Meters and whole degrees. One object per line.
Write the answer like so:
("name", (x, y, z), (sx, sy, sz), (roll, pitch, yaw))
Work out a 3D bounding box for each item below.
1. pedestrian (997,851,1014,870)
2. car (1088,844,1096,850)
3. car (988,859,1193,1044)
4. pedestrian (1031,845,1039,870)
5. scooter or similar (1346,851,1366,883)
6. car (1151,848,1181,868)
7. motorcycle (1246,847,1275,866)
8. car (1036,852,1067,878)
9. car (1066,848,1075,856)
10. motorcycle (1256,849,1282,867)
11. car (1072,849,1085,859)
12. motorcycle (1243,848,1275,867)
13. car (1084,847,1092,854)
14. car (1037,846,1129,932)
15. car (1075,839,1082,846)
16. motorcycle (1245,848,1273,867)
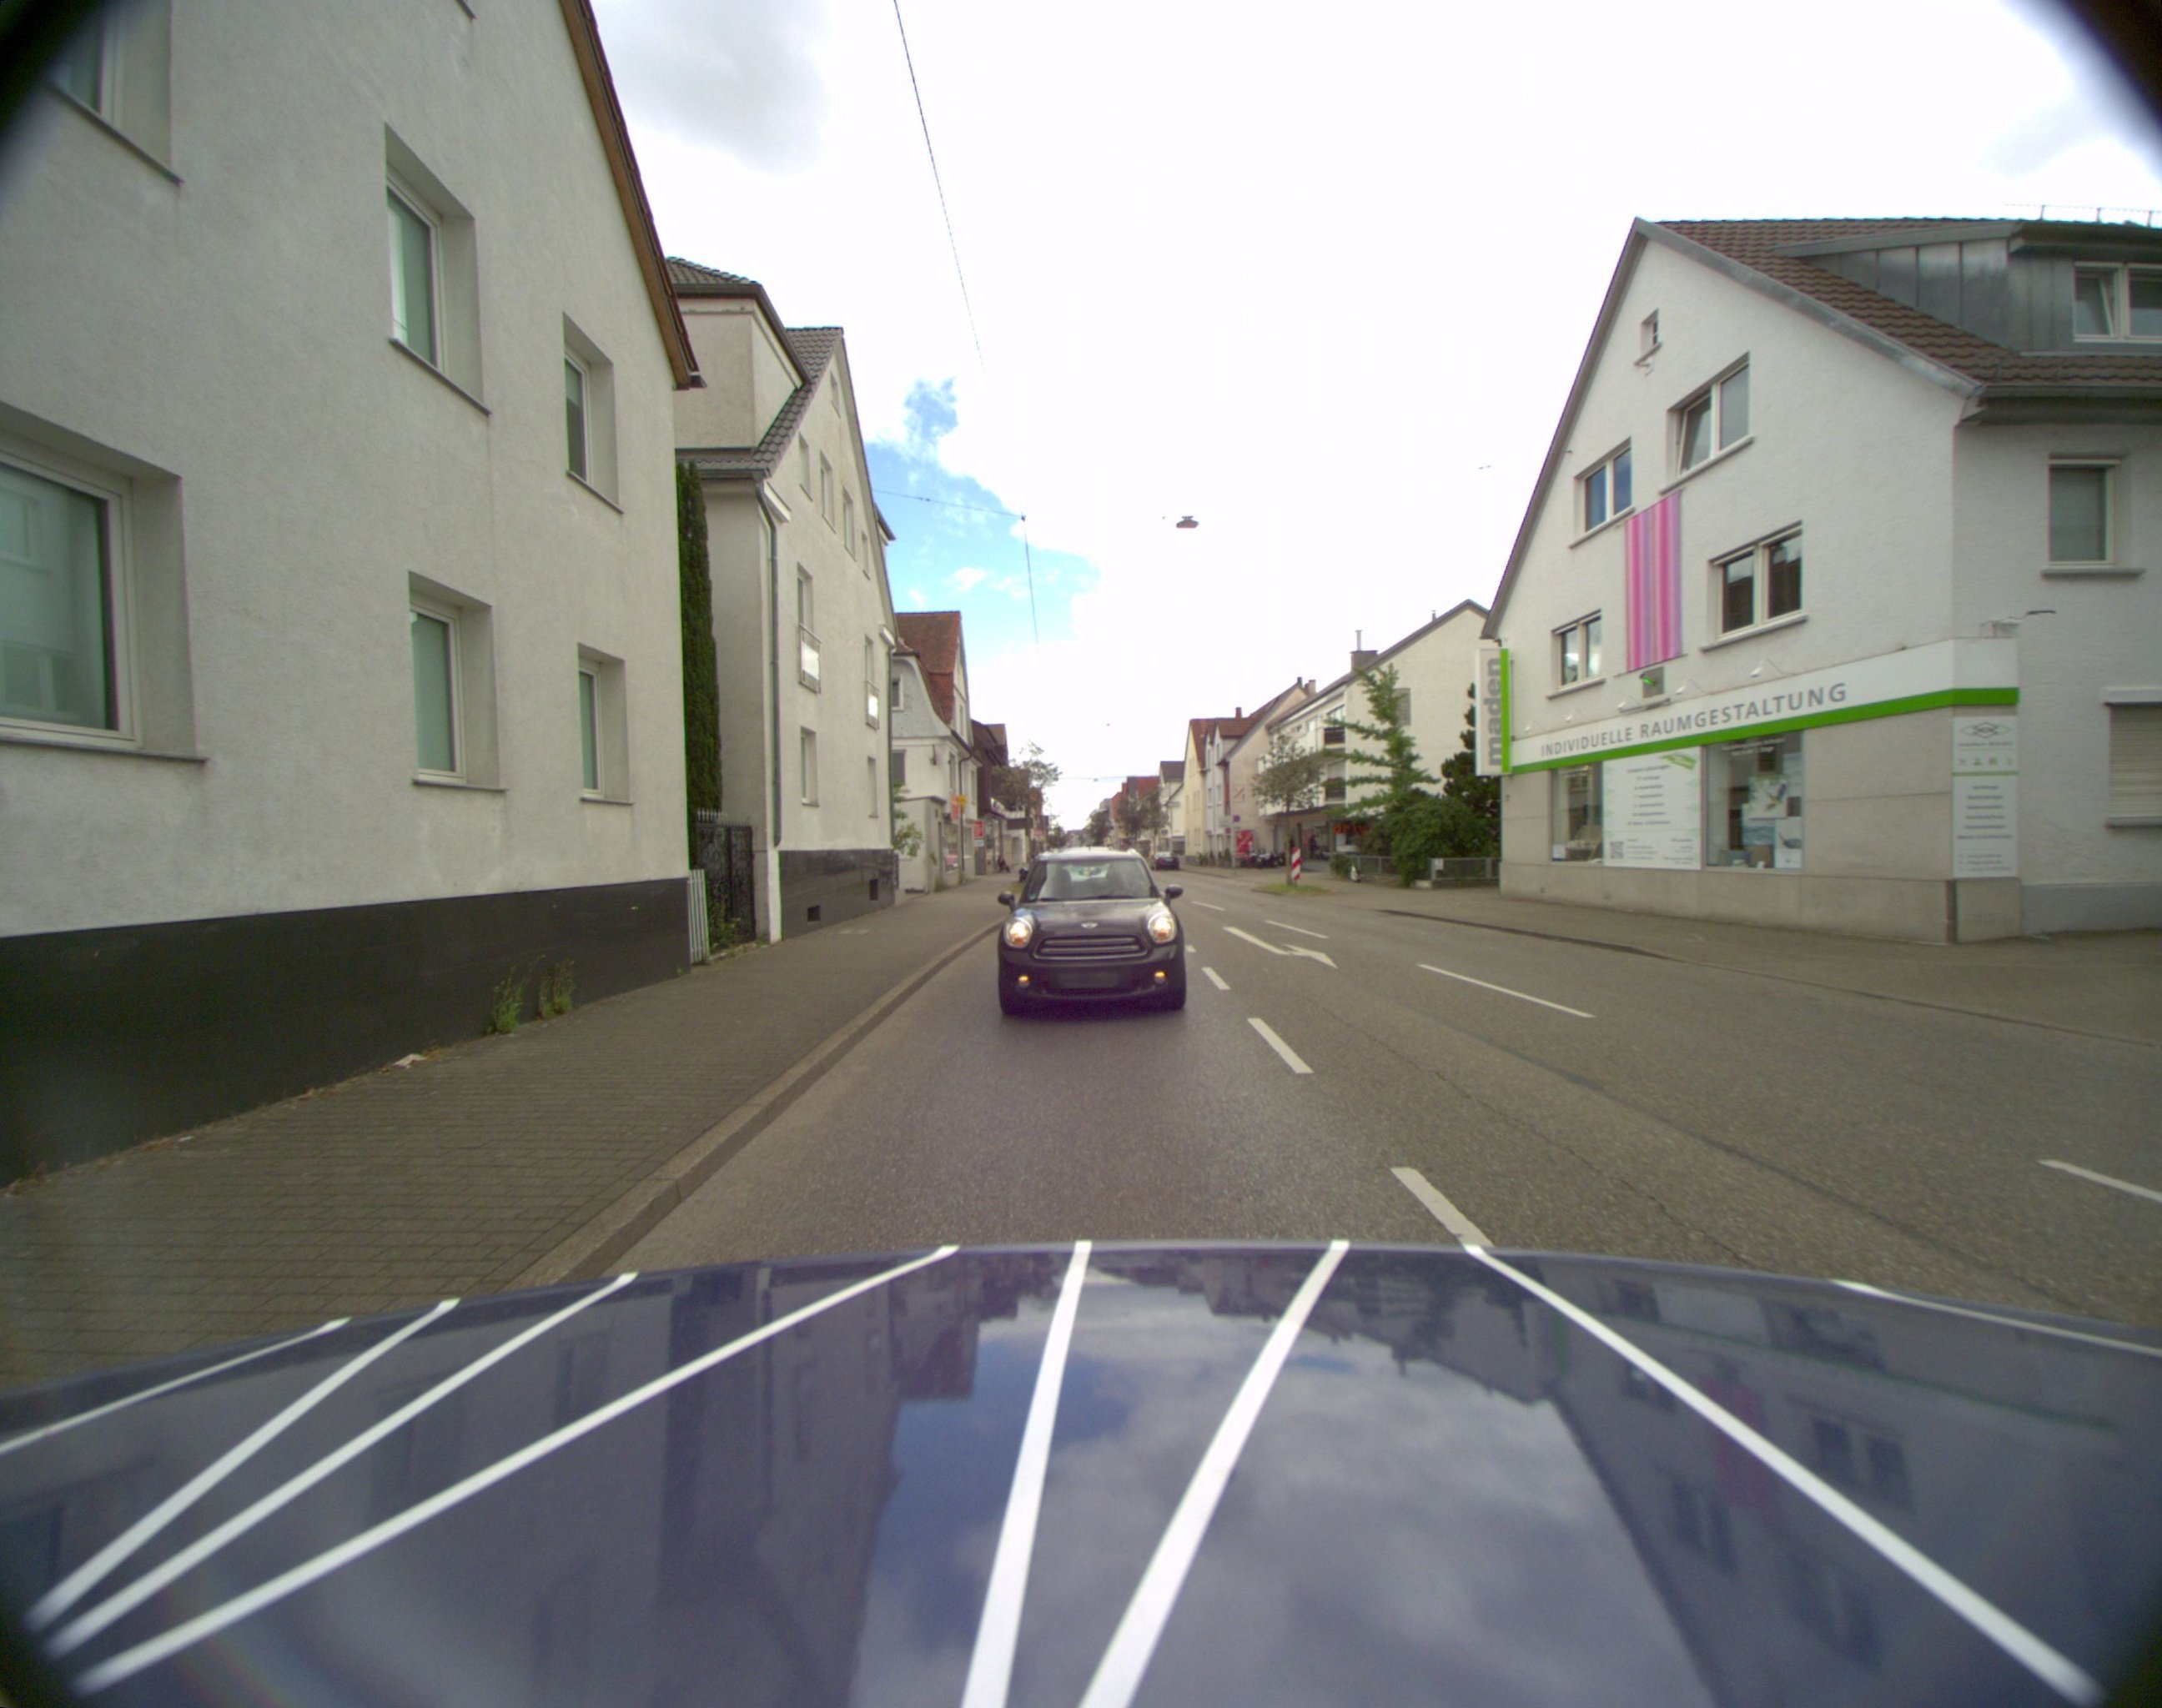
("pedestrian", (-5.225, 0.459, 52.830), (0.982, 1.272, 0.667), (0, 1, 12))
("car", (2.867, -1.839, 198.963), (1.634, 1.404, 3.998), (0, 1, -3))
("car", (0.110, 0.838, 8.439), (1.693, 1.506, 4.000), (-2, 0, 1))
("pedestrian", (-3.195, 0.252, 53.298), (0.497, 1.744, 0.451), (-1, 1, 1))
("scooter or similar", (10.264, 0.458, 28.379), (0.465, 1.117, 1.829), (-2, 0, 14))
("car", (6.332, 0.268, 56.947), (1.634, 1.404, 3.998), (0, 1, -3))
("motorcycle", (11.459, 0.170, 48.475), (1.678, 1.099, 0.558), (-3, 1, 0))
("car", (-1.873, 0.688, 49.108), (1.846, 1.510, 3.998), (-3, 1, -2))
("car", (-2.330, -0.478, 163.180), (1.846, 1.510, 3.999), (-3, 1, 0))
("motorcycle", (11.374, 0.244, 45.956), (1.429, 1.017, 0.525), (-3, 1, 0))
("car", (-0.395, 0.007, 121.859), (1.846, 1.510, 3.999), (-3, 1, 0))
("motorcycle", (11.156, 0.196, 47.694), (1.834, 1.099, 0.505), (-3, 1, 0))
("car", (1.610, -0.818, 173.472), (1.846, 1.510, 3.999), (-3, 1, 0))
("car", (0.007, 0.685, 17.840), (1.811, 1.556, 4.615), (-3, 2, -1))
("car", (-0.719, -3.483, 224.883), (1.951, 2.118, 4.321), (0, 1, -3))
("motorcycle", (10.945, 0.220, 46.755), (1.515, 1.099, 0.589), (-3, 1, 6))
